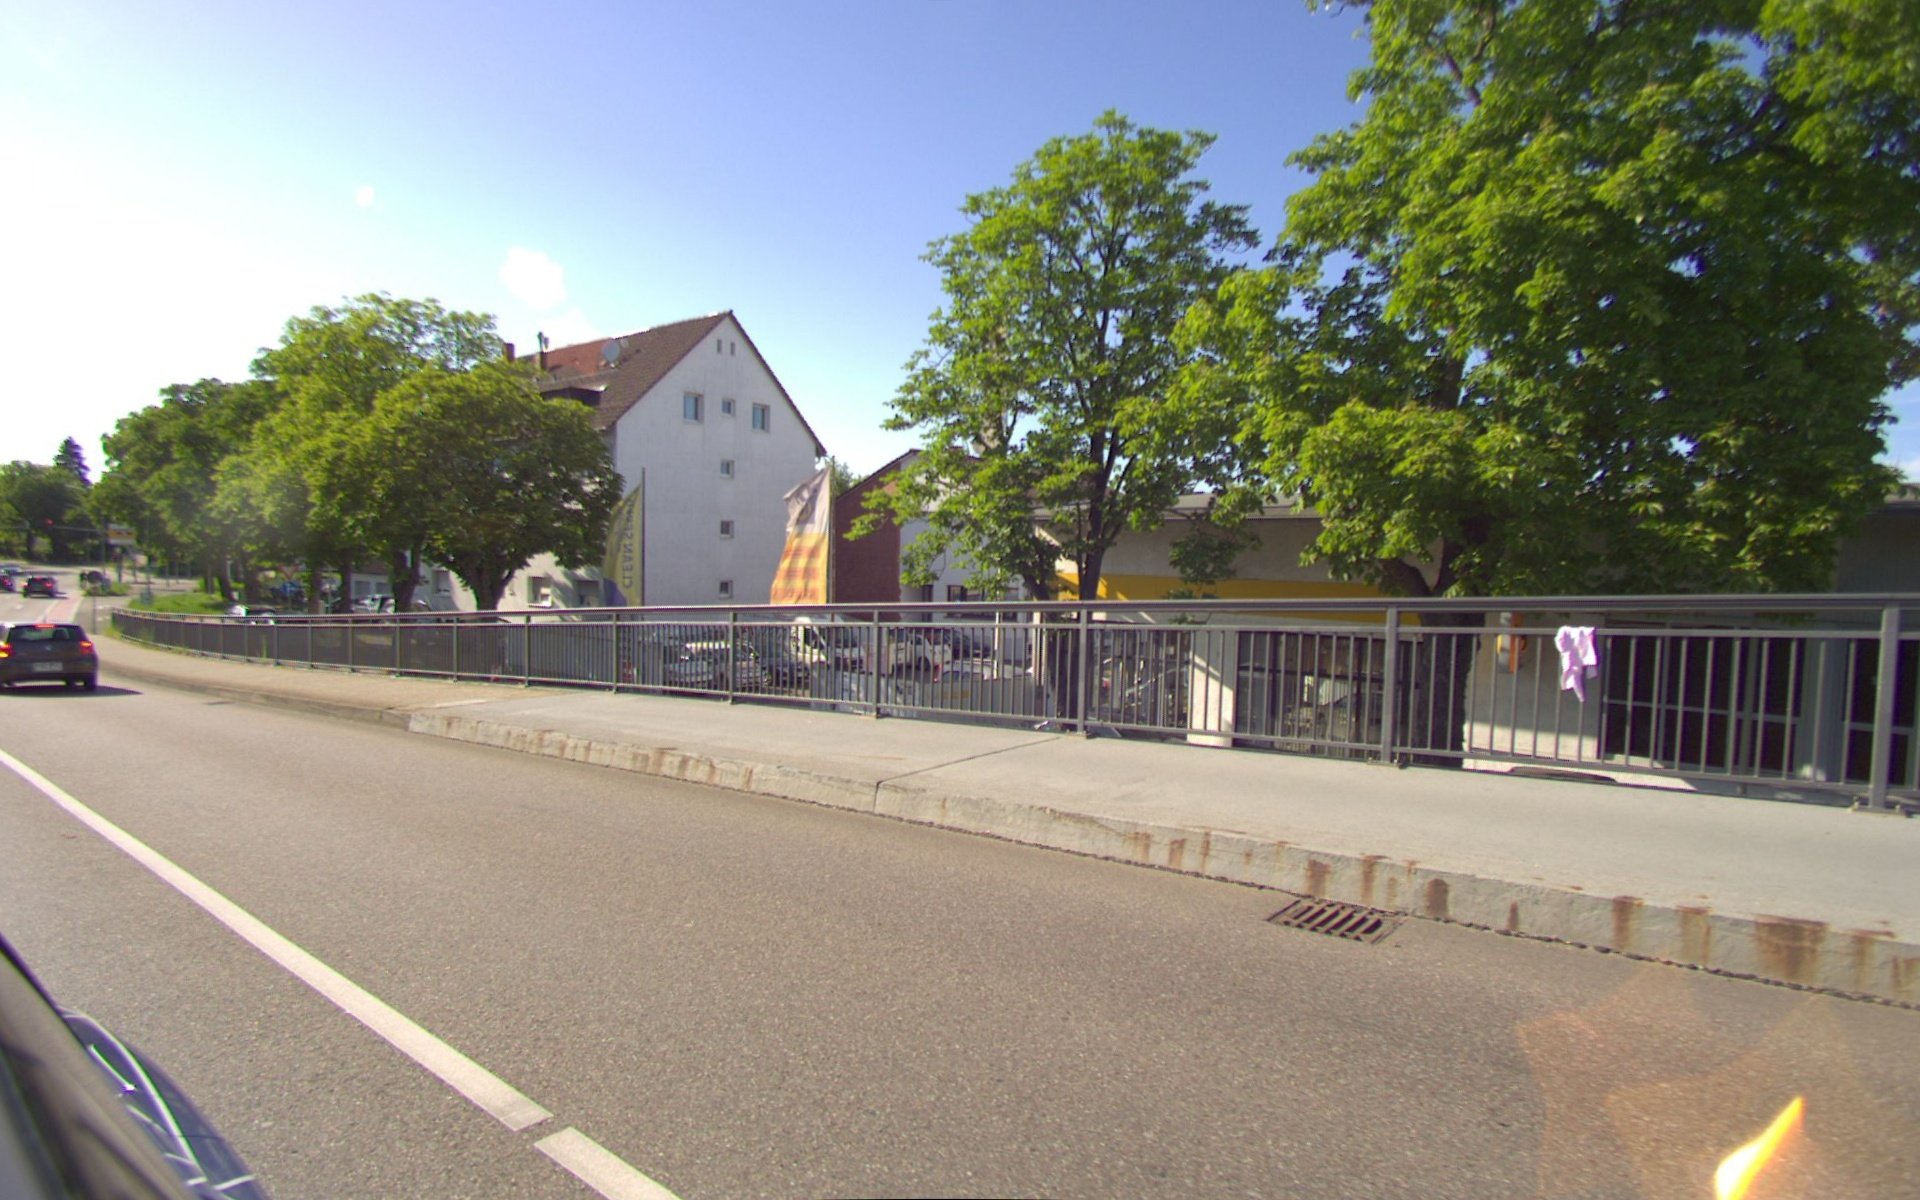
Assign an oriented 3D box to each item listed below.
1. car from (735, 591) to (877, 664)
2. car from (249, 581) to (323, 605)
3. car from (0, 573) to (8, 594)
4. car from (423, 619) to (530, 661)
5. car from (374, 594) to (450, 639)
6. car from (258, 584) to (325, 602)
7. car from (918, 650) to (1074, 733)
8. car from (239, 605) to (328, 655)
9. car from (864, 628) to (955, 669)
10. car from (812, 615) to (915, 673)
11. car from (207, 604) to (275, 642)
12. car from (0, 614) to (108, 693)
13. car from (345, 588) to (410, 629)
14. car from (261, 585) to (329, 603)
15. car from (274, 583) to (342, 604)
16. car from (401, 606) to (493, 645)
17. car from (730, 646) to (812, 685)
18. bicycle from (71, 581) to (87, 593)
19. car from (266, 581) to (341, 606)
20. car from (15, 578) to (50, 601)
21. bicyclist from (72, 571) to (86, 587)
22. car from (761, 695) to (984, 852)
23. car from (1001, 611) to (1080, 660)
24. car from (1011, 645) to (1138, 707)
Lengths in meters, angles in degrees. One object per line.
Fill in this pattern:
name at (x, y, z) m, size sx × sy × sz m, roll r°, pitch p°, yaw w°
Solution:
car at (-6.138, 1.151, 39.751) m, size 5.884 × 2.581 × 2.109 m, roll -4°, pitch -5°, yaw 39°
car at (-47.949, -0.523, 72.067) m, size 1.991 × 1.571 × 3.962 m, roll 2°, pitch 2°, yaw 28°
car at (-80.860, -1.388, 84.428) m, size 4.002 × 1.611 × 1.891 m, roll 4°, pitch 1°, yaw 44°
car at (-21.214, 1.722, 44.547) m, size 1.986 × 1.610 × 3.971 m, roll 1°, pitch 1°, yaw 21°
car at (-27.449, 0.768, 50.634) m, size 4.789 × 1.944 × 2.046 m, roll 3°, pitch 4°, yaw 44°
car at (-52.685, -0.554, 79.830) m, size 2.035 × 1.249 × 3.896 m, roll 2°, pitch 2°, yaw 28°
car at (1.004, 2.524, 28.679) m, size 3.990 × 1.865 × 1.977 m, roll 2°, pitch 2°, yaw 34°
car at (-29.091, 1.232, 43.456) m, size 5.238 × 1.741 × 2.015 m, roll 3°, pitch 4°, yaw 43°
car at (-2.187, 2.047, 43.515) m, size 3.811 × 1.407 × 1.671 m, roll 3°, pitch 3°, yaw 41°
car at (-3.995, 1.752, 41.670) m, size 3.998 × 2.028 × 1.973 m, roll 3°, pitch 3°, yaw 41°
car at (-34.362, 1.043, 48.295) m, size 2.013 × 1.475 × 4.967 m, roll -1°, pitch 3°, yaw -43°
car at (-19.479, 1.058, 21.234) m, size 3.985 × 1.486 × 1.752 m, roll 0°, pitch -1°, yaw 40°
car at (-31.383, 0.398, 54.451) m, size 5.105 × 1.944 × 1.727 m, roll 3°, pitch 3°, yaw 44°
car at (-50.922, -0.456, 77.563) m, size 2.035 × 1.249 × 3.896 m, roll 2°, pitch 2°, yaw 28°
car at (-48.737, -0.488, 75.765) m, size 1.939 × 1.423 × 3.841 m, roll 2°, pitch 2°, yaw 30°
car at (-23.419, 1.122, 46.379) m, size 1.769 × 1.521 × 3.651 m, roll 1°, pitch 2°, yaw 16°
car at (-6.929, 2.358, 36.997) m, size 3.044 × 1.086 × 1.285 m, roll 4°, pitch 2°, yaw 41°
bicycle at (-79.057, -1.191, 90.828) m, size 0.925 × 1.024 × 2.202 m, roll -1°, pitch 3°, yaw -37°
car at (-45.665, -0.460, 70.423) m, size 1.918 × 1.622 × 3.953 m, roll 2°, pitch 3°, yaw 35°
car at (-72.815, -0.863, 79.482) m, size 1.829 × 1.749 × 4.277 m, roll -1°, pitch 2°, yaw -41°
bicyclist at (-78.998, -1.887, 90.743) m, size 0.921 × 1.412 × 0.824 m, roll -1°, pitch 2°, yaw -37°
car at (-1.726, 3.073, 18.884) m, size 1.901 × 2.006 × 4.261 m, roll -1°, pitch 3°, yaw -44°
car at (3.870, 1.650, 48.082) m, size 1.996 × 2.028 × 3.918 m, roll 2°, pitch 3°, yaw 35°
car at (3.929, 2.532, 34.476) m, size 3.969 × 1.739 × 1.987 m, roll 1°, pitch 2°, yaw 20°
